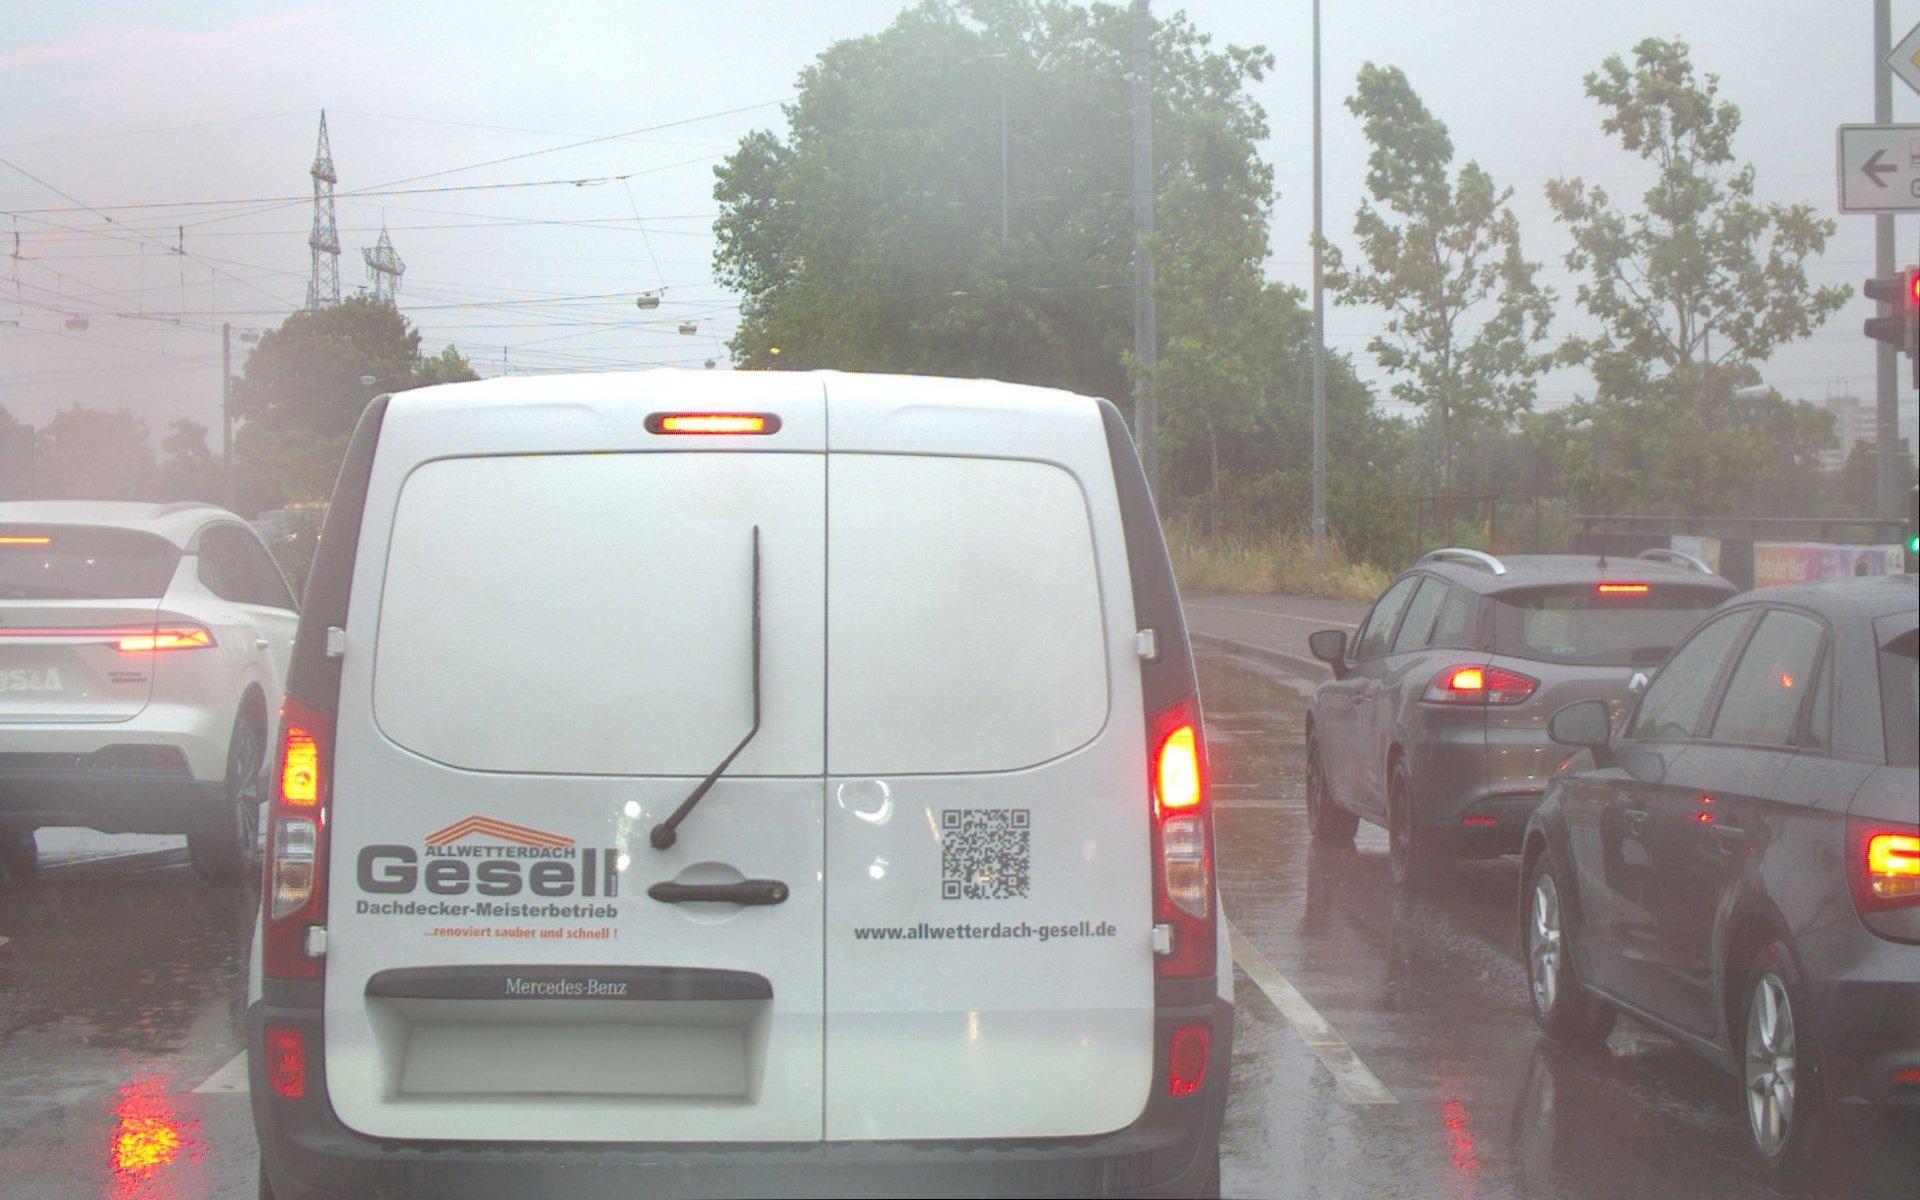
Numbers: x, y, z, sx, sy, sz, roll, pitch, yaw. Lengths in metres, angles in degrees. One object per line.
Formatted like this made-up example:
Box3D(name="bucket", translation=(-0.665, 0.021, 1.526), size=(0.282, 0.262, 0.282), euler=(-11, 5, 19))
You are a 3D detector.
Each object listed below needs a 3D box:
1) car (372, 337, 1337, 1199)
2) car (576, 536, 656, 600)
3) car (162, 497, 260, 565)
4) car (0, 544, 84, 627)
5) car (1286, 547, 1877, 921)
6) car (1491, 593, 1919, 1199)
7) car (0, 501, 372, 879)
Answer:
Box3D(name="car", translation=(-0.194, 0.440, 7.611), size=(1.566, 1.782, 4.000), euler=(0, 1, -1))
Box3D(name="car", translation=(-8.384, -0.772, 83.573), size=(1.614, 1.498, 3.716), euler=(1, 1, -10))
Box3D(name="car", translation=(-22.632, -2.067, 104.005), size=(1.993, 2.007, 4.000), euler=(1, 1, 1))
Box3D(name="car", translation=(-21.337, -0.343, 77.437), size=(1.929, 1.820, 3.999), euler=(1, 1, 4))
Box3D(name="car", translation=(2.644, 0.502, 15.529), size=(1.859, 1.424, 3.808), euler=(1, 1, -2))
Box3D(name="car", translation=(2.531, 0.680, 8.931), size=(1.629, 1.340, 3.624), euler=(1, 1, -2))
Box3D(name="car", translation=(-3.943, 0.307, 16.144), size=(1.728, 1.530, 4.298), euler=(1, 1, -2))
